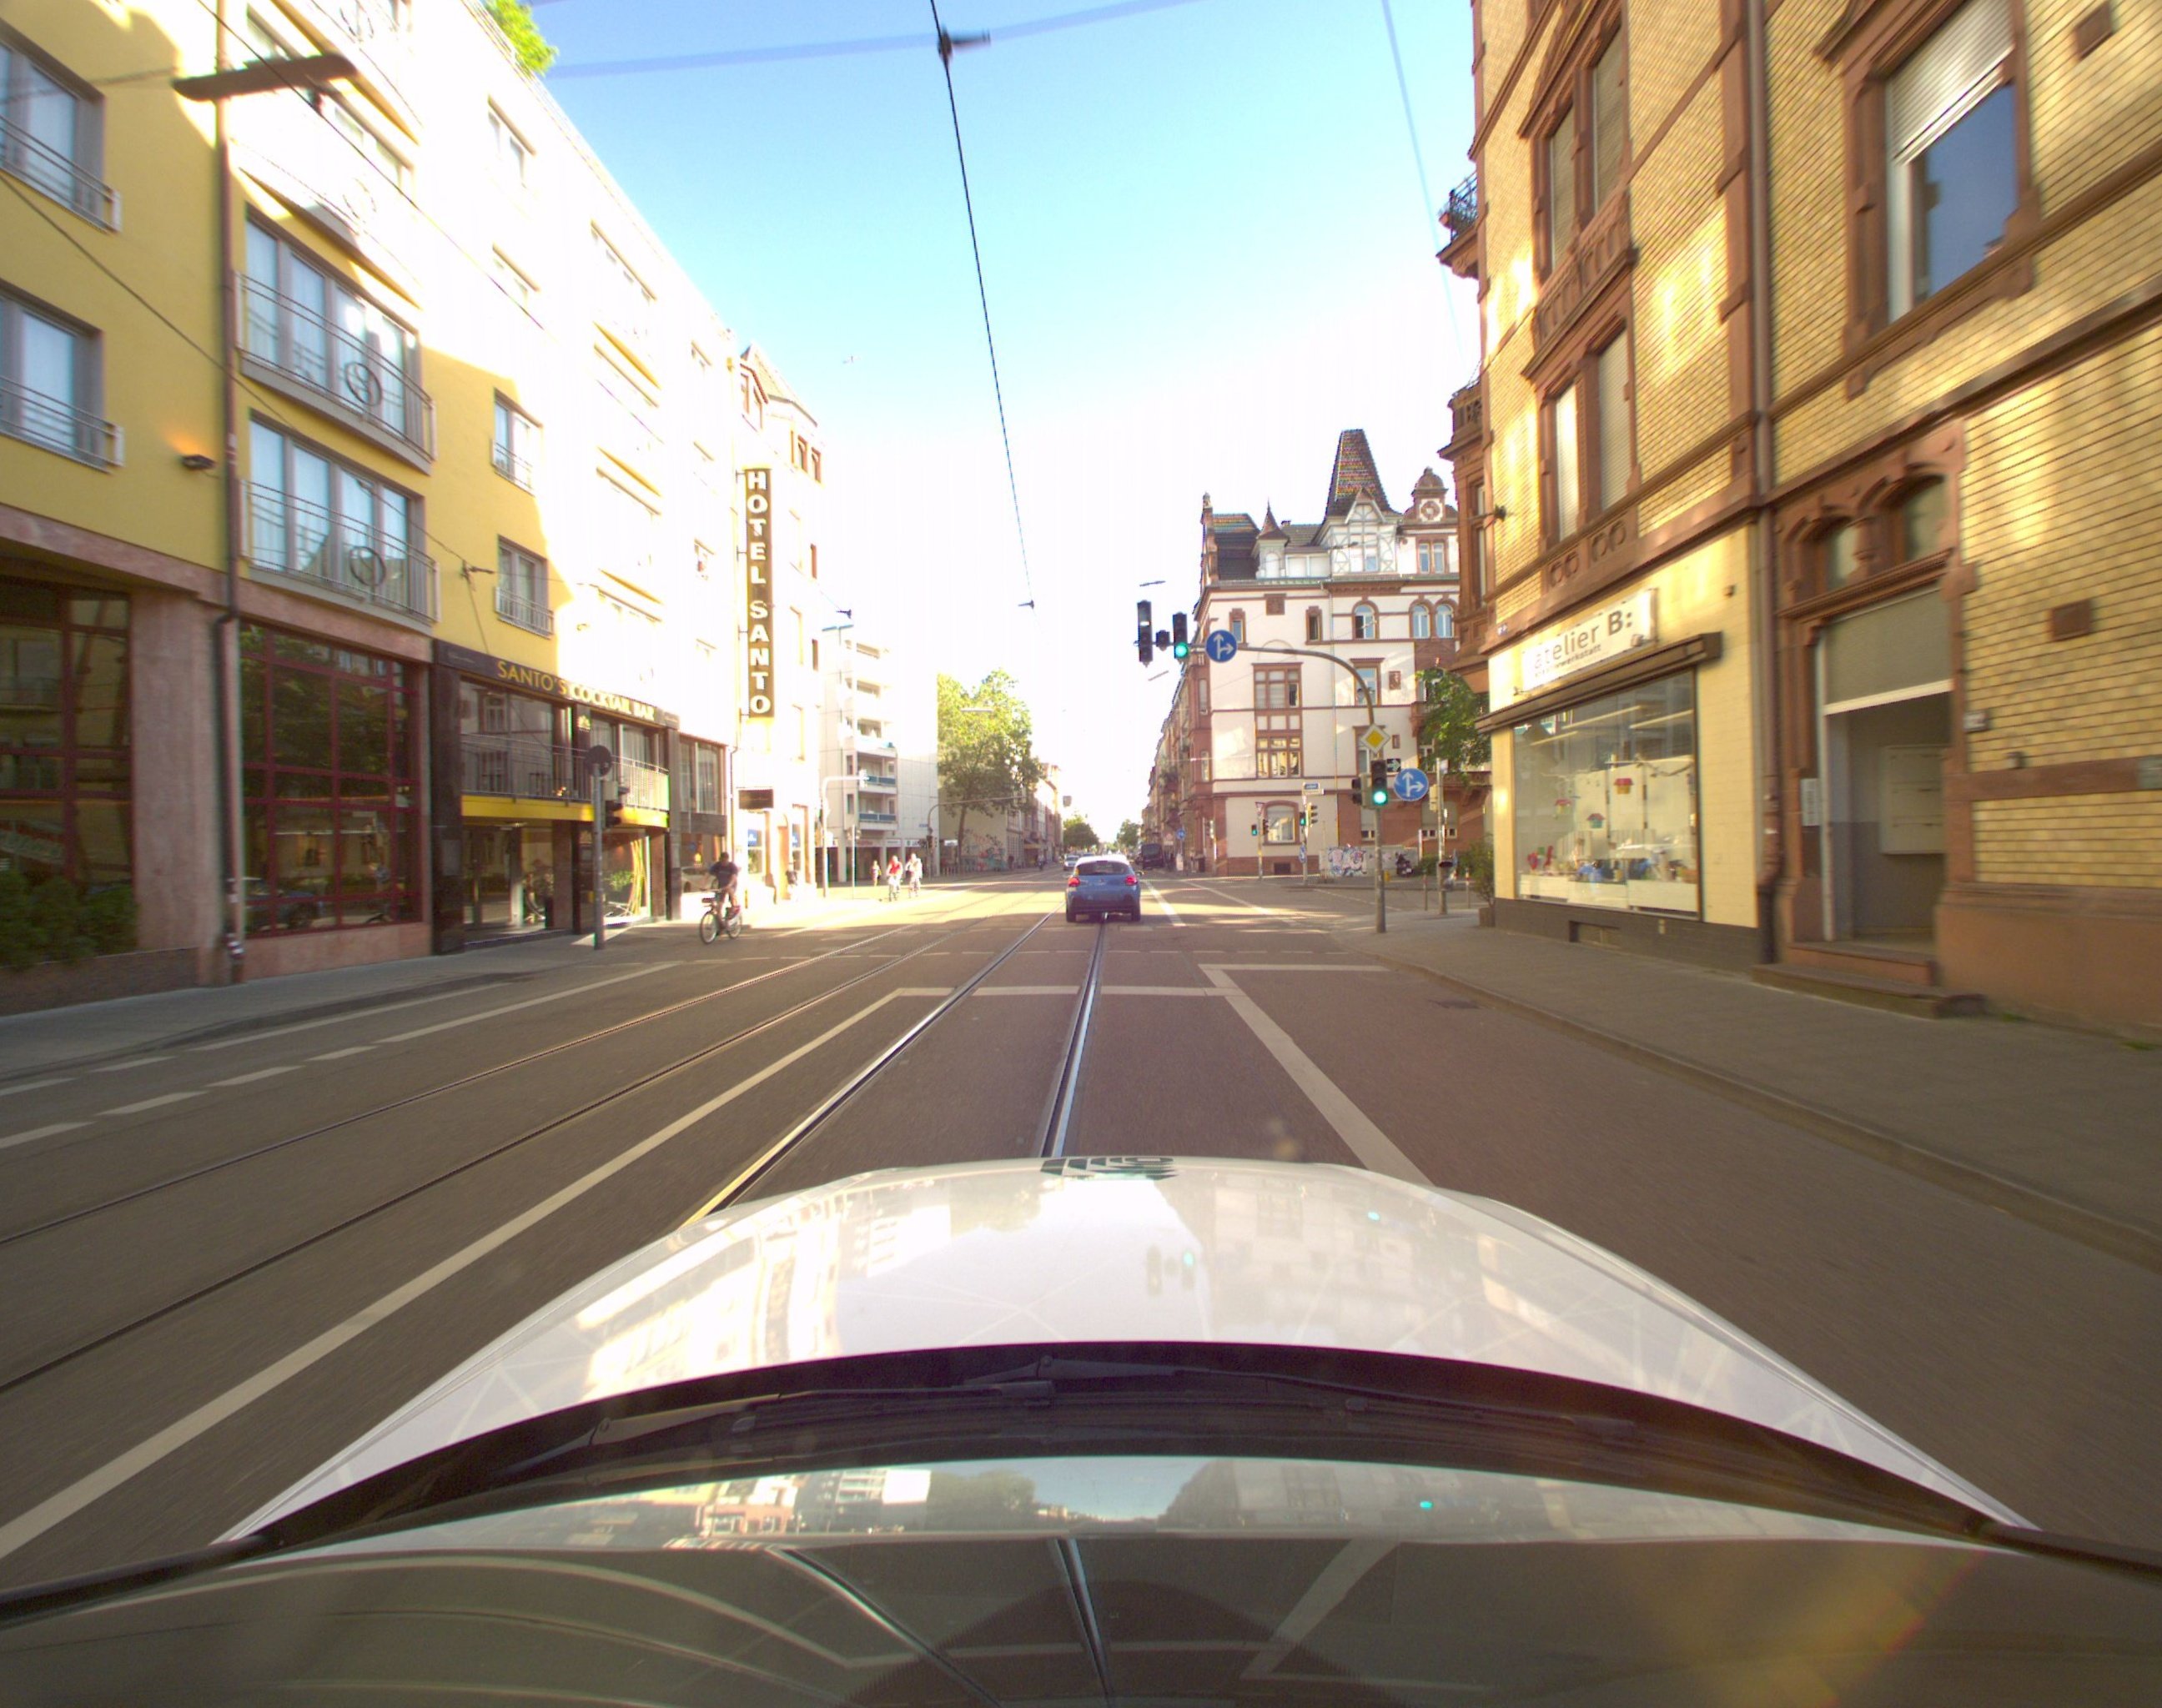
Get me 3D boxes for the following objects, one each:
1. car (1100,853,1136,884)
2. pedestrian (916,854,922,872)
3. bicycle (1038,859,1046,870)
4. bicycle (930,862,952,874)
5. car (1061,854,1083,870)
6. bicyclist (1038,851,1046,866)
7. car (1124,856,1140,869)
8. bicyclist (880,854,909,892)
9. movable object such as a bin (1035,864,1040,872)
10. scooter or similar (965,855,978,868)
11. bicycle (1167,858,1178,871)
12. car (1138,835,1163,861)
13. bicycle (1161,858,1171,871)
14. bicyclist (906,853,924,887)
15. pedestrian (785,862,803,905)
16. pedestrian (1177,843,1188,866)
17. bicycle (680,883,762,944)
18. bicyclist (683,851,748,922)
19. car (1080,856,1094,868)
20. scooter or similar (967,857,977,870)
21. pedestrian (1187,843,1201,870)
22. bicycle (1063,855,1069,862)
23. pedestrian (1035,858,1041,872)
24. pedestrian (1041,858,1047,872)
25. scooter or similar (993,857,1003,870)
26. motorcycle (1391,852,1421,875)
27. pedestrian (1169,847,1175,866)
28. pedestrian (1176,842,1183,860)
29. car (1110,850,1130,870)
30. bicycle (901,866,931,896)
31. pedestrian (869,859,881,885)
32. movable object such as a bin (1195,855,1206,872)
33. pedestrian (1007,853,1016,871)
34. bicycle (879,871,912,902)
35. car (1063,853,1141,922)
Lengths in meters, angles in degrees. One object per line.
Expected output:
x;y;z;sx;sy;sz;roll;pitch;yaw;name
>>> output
1.831;0.700;41.341;1.661;1.478;4.001;-2;0;1;car
-16.205;0.895;81.634;0.454;1.718;0.547;-2;0;1;pedestrian
-3.915;1.055;82.008;0.690;1.120;2.084;-2;0;1;bicycle
-12.984;1.272;75.503;1.898;1.034;0.669;-1;0;28;bicycle
-0.904;0.770;82.003;1.978;1.502;4.310;-2;0;1;car
-3.932;0.474;82.032;0.680;1.483;0.779;-2;0;1;bicyclist
6.855;1.150;110.154;1.998;1.672;4.808;-2;0;2;car
-7.078;0.710;30.982;0.733;1.381;1.469;-1;0;1;bicyclist
-5.647;1.794;105.285;0.608;0.914;0.695;-2;0;2;movable object such as a bin
-11.029;0.716;81.854;1.228;1.258;0.765;-2;0;-10;scooter or similar
7.020;0.808;62.442;0.430;0.947;1.760;-1;0;-5;bicycle
7.003;-0.599;82.787;2.262;2.436;5.723;-1;0;2;car
6.534;0.820;62.421;0.430;0.947;1.760;-1;0;-5;bicycle
-6.891;0.650;33.856;0.588;1.376;0.679;-1;0;1;bicyclist
-9.565;0.984;27.163;0.402;1.410;0.516;-1;0;1;pedestrian
7.637;0.016;61.282;0.625;1.701;0.681;-2;0;-7;pedestrian
-7.392;1.197;16.849;0.728;1.088;2.062;-1;0;1;bicycle
-7.429;0.639;16.612;0.721;1.381;1.228;-1;0;1;bicyclist
0.884;1.150;121.138;1.986;1.744;4.564;-1;0;1;car
-11.112;0.972;83.010;0.937;1.222;0.765;-1;0;-10;scooter or similar
8.089;0.175;58.417;0.703;1.782;0.673;-9;0;1;pedestrian
-3.159;0.958;174.842;1.118;1.319;3.640;-2;0;-3;bicycle
-5.551;1.377;104.535;0.708;1.764;0.570;-2;0;1;pedestrian
-4.744;1.391;105.472;0.708;1.764;0.655;-2;0;0;pedestrian
-8.462;0.936;83.130;0.785;1.271;1.075;1;1;1;scooter or similar
16.442;0.461;41.231;0.608;1.124;2.391;-1;1;2;motorcycle
9.556;0.240;85.448;0.583;2.013;0.823;-1;0;1;pedestrian
9.838;-0.330;81.692;0.551;1.782;0.606;3;0;1;pedestrian
4.108;0.581;86.800;1.986;2.013;4.001;-2;0;1;car
-6.817;1.114;33.733;0.728;1.183;2.062;-1;-2;1;bicycle
-12.255;1.072;48.478;0.540;1.552;0.516;-1;0;1;pedestrian
8.317;0.687;56.706;0.664;1.153;0.594;-1;0;-1;movable object such as a bin
-7.101;0.817;83.167;0.677;1.765;1.029;-1;0;13;pedestrian
-7.056;1.225;31.108;0.728;1.065;2.062;-1;0;1;bicycle
0.434;0.733;19.827;1.669;1.477;3.998;-1;0;-1;car
